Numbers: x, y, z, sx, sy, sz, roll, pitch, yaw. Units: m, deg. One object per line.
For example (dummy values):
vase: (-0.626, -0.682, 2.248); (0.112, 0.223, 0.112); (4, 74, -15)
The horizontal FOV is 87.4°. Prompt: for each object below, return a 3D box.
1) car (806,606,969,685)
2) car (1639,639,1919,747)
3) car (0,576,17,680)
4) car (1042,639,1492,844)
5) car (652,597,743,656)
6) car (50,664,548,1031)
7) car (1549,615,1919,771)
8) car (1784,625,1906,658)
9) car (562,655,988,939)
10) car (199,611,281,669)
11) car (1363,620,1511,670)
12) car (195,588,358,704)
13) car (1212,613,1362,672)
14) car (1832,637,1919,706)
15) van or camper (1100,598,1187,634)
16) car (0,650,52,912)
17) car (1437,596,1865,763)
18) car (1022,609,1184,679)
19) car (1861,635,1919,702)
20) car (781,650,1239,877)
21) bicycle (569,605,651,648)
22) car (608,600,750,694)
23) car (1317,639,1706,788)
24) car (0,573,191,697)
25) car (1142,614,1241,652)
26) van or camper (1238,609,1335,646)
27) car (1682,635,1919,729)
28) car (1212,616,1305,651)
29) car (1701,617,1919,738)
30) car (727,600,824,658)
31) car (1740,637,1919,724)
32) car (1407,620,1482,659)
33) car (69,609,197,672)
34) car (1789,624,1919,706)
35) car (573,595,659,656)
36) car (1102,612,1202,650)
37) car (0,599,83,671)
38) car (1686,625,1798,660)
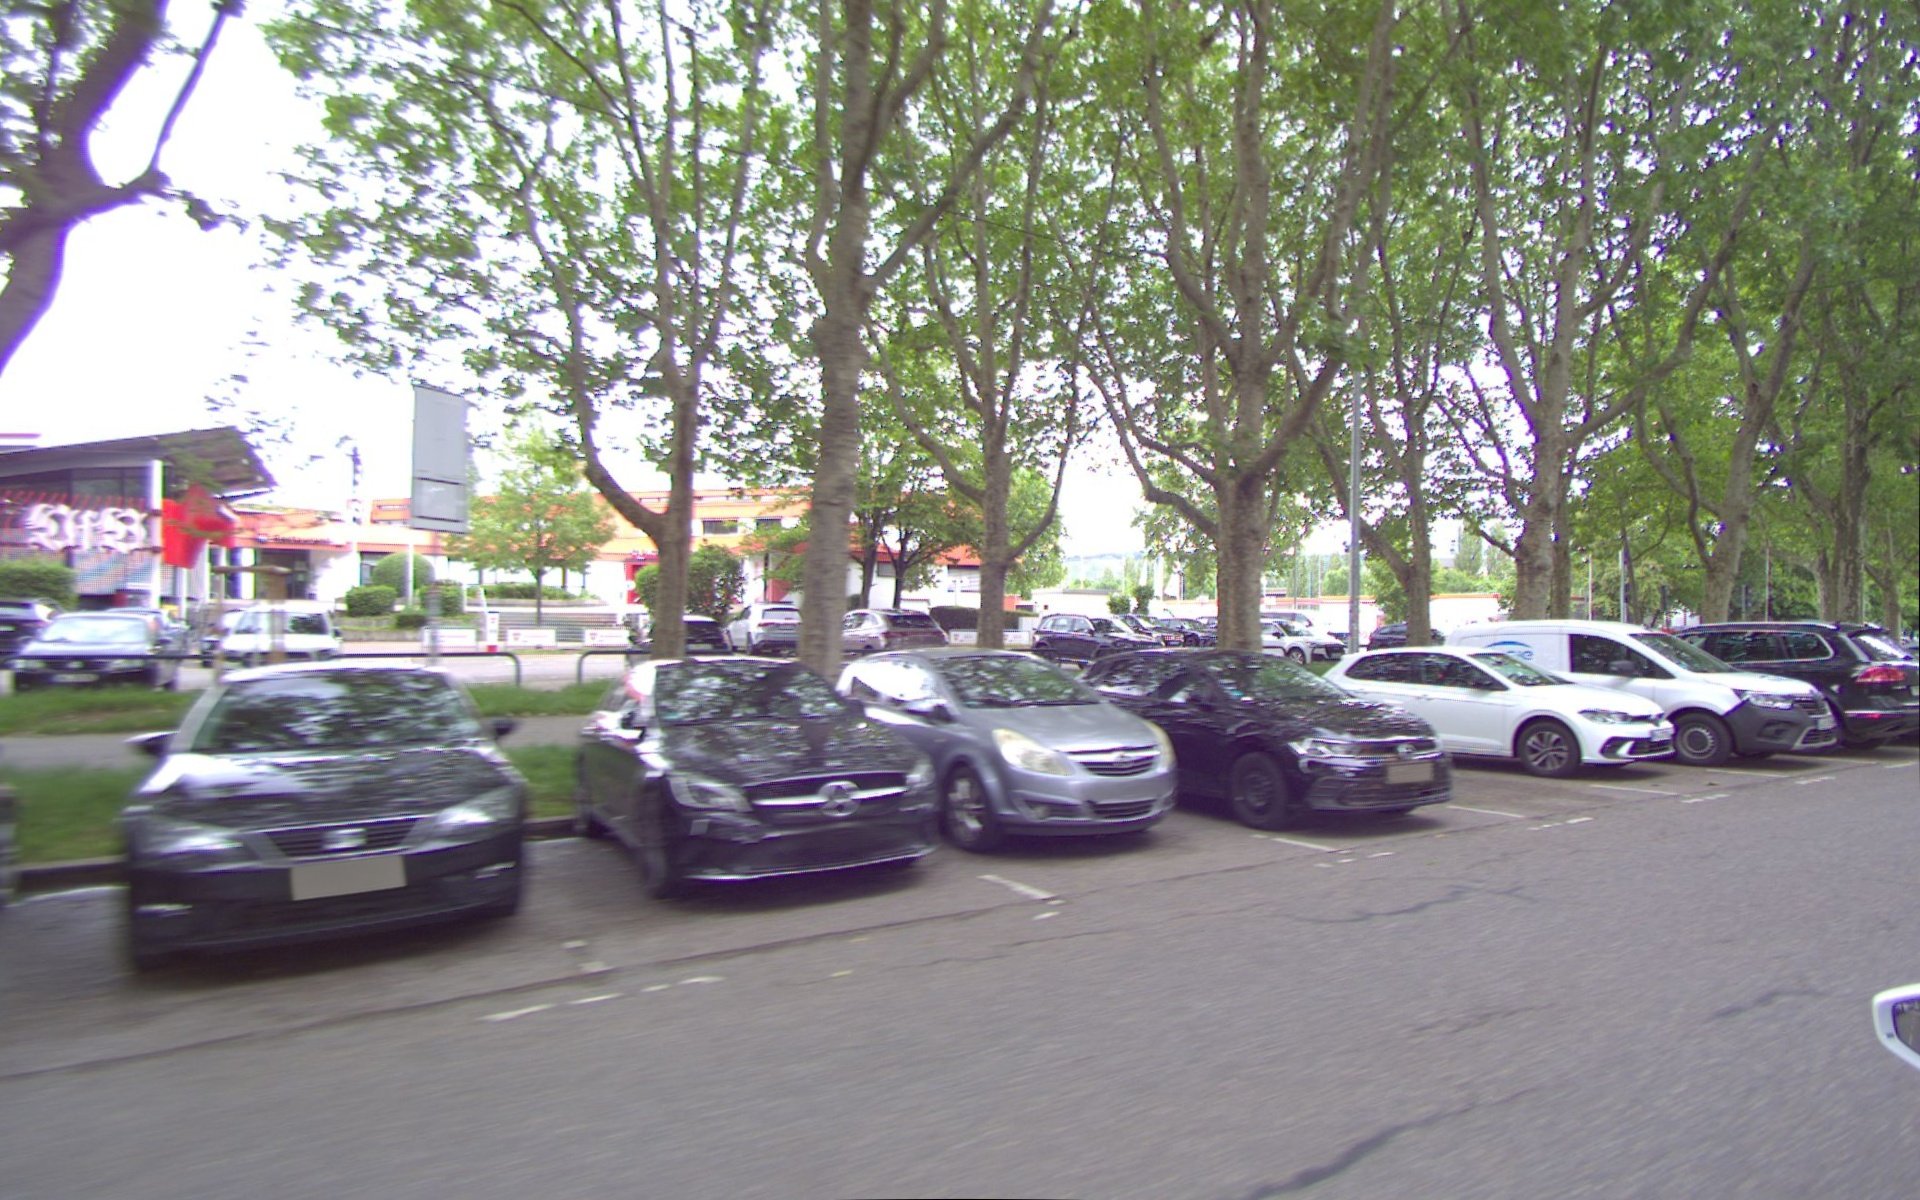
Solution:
car: (-1.930, 1.068, 25.238); (2.270, 1.748, 4.529); (2, -1, -31)
car: (13.305, 1.375, 15.586); (1.988, 1.471, 4.114); (1, -4, -28)
car: (-16.866, 0.464, 15.691); (2.159, 1.820, 4.914); (2, -1, -32)
car: (2.532, 1.125, 9.314); (1.733, 1.439, 3.965); (1, -3, -27)
car: (-9.196, 0.892, 34.884); (2.265, 1.880, 4.565); (2, -1, -25)
car: (-3.957, 1.129, 6.367); (1.839, 1.384, 4.441); (1, -3, -31)
car: (11.194, 1.163, 14.423); (2.013, 1.819, 4.297); (2, -1, -30)
car: (48.924, 2.282, 55.635); (2.082, 1.588, 4.608); (3, -1, -27)
car: (-1.703, 1.129, 7.506); (1.878, 1.365, 4.446); (1, -3, -28)
car: (-19.216, 1.029, 26.925); (1.490, 1.390, 3.965); (2, -1, -32)
car: (16.845, 1.559, 35.676); (2.178, 1.569, 4.299); (2, -1, -31)
car: (-12.349, 0.763, 18.386); (2.159, 1.820, 4.914); (1, -1, -32)
car: (10.440, 1.318, 32.390); (2.107, 1.732, 4.299); (2, -1, -31)
car: (21.585, 1.580, 21.547); (1.840, 1.424, 3.968); (2, -1, -30)
van or camper: (11.151, 0.964, 60.904); (5.243, 2.040, 1.983); (2, -1, -32)
car: (-5.493, 0.942, 4.347); (1.685, 1.416, 3.908); (1, -3, -33)
car: (8.929, 0.979, 13.381); (1.848, 1.834, 4.292); (1, -3, -33)
car: (3.994, 1.204, 28.720); (2.270, 1.785, 4.495); (2, -1, -31)
car: (23.499, 1.624, 22.972); (1.811, 1.513, 3.975); (2, -1, -30)
car: (0.103, 1.146, 8.715); (1.858, 1.387, 4.442); (1, -3, -30)
bicycle: (-13.180, 0.985, 37.840); (2.769, 1.560, 1.044); (2, -1, -31)
car: (-6.409, 0.973, 22.596); (2.005, 1.885, 4.299); (2, -1, -31)
car: (6.529, 1.251, 12.199); (1.751, 1.491, 3.751); (1, -3, -40)
car: (-14.852, 0.532, 17.218); (2.159, 1.820, 4.914); (2, -1, -32)
car: (10.405, 1.480, 45.425); (1.937, 1.569, 4.299); (2, -1, -31)
van or camper: (16.137, 1.351, 49.846); (2.107, 1.732, 4.299); (2, -1, -31)
car: (15.163, 1.355, 17.166); (1.946, 1.372, 4.166); (2, -1, -32)
car: (14.293, 1.593, 48.265); (1.770, 1.569, 4.195); (2, -1, -31)
car: (15.084, 1.231, 16.489); (1.845, 1.834, 4.298); (1, -3, -30)
car: (-6.554, 0.990, 35.229); (2.265, 1.880, 4.565); (2, -1, -25)
car: (17.179, 1.473, 18.572); (1.864, 1.423, 3.966); (2, -1, -31)
car: (21.347, 1.694, 44.123); (2.066, 1.572, 4.960); (1, -1, 37)
car: (-21.146, 1.001, 25.857); (1.978, 1.446, 3.965); (2, -1, -32)
car: (19.420, 1.278, 19.882); (1.887, 1.568, 4.242); (2, -4, -32)
car: (-11.637, 0.820, 33.774); (2.265, 1.880, 4.565); (2, -1, -25)
car: (8.405, 1.347, 44.303); (1.937, 1.569, 4.299); (2, -1, -31)
car: (-23.311, 0.809, 24.791); (1.979, 1.647, 3.962); (2, -1, -34)
car: (38.869, 2.093, 50.016); (1.978, 1.543, 3.969); (2, -1, -30)
